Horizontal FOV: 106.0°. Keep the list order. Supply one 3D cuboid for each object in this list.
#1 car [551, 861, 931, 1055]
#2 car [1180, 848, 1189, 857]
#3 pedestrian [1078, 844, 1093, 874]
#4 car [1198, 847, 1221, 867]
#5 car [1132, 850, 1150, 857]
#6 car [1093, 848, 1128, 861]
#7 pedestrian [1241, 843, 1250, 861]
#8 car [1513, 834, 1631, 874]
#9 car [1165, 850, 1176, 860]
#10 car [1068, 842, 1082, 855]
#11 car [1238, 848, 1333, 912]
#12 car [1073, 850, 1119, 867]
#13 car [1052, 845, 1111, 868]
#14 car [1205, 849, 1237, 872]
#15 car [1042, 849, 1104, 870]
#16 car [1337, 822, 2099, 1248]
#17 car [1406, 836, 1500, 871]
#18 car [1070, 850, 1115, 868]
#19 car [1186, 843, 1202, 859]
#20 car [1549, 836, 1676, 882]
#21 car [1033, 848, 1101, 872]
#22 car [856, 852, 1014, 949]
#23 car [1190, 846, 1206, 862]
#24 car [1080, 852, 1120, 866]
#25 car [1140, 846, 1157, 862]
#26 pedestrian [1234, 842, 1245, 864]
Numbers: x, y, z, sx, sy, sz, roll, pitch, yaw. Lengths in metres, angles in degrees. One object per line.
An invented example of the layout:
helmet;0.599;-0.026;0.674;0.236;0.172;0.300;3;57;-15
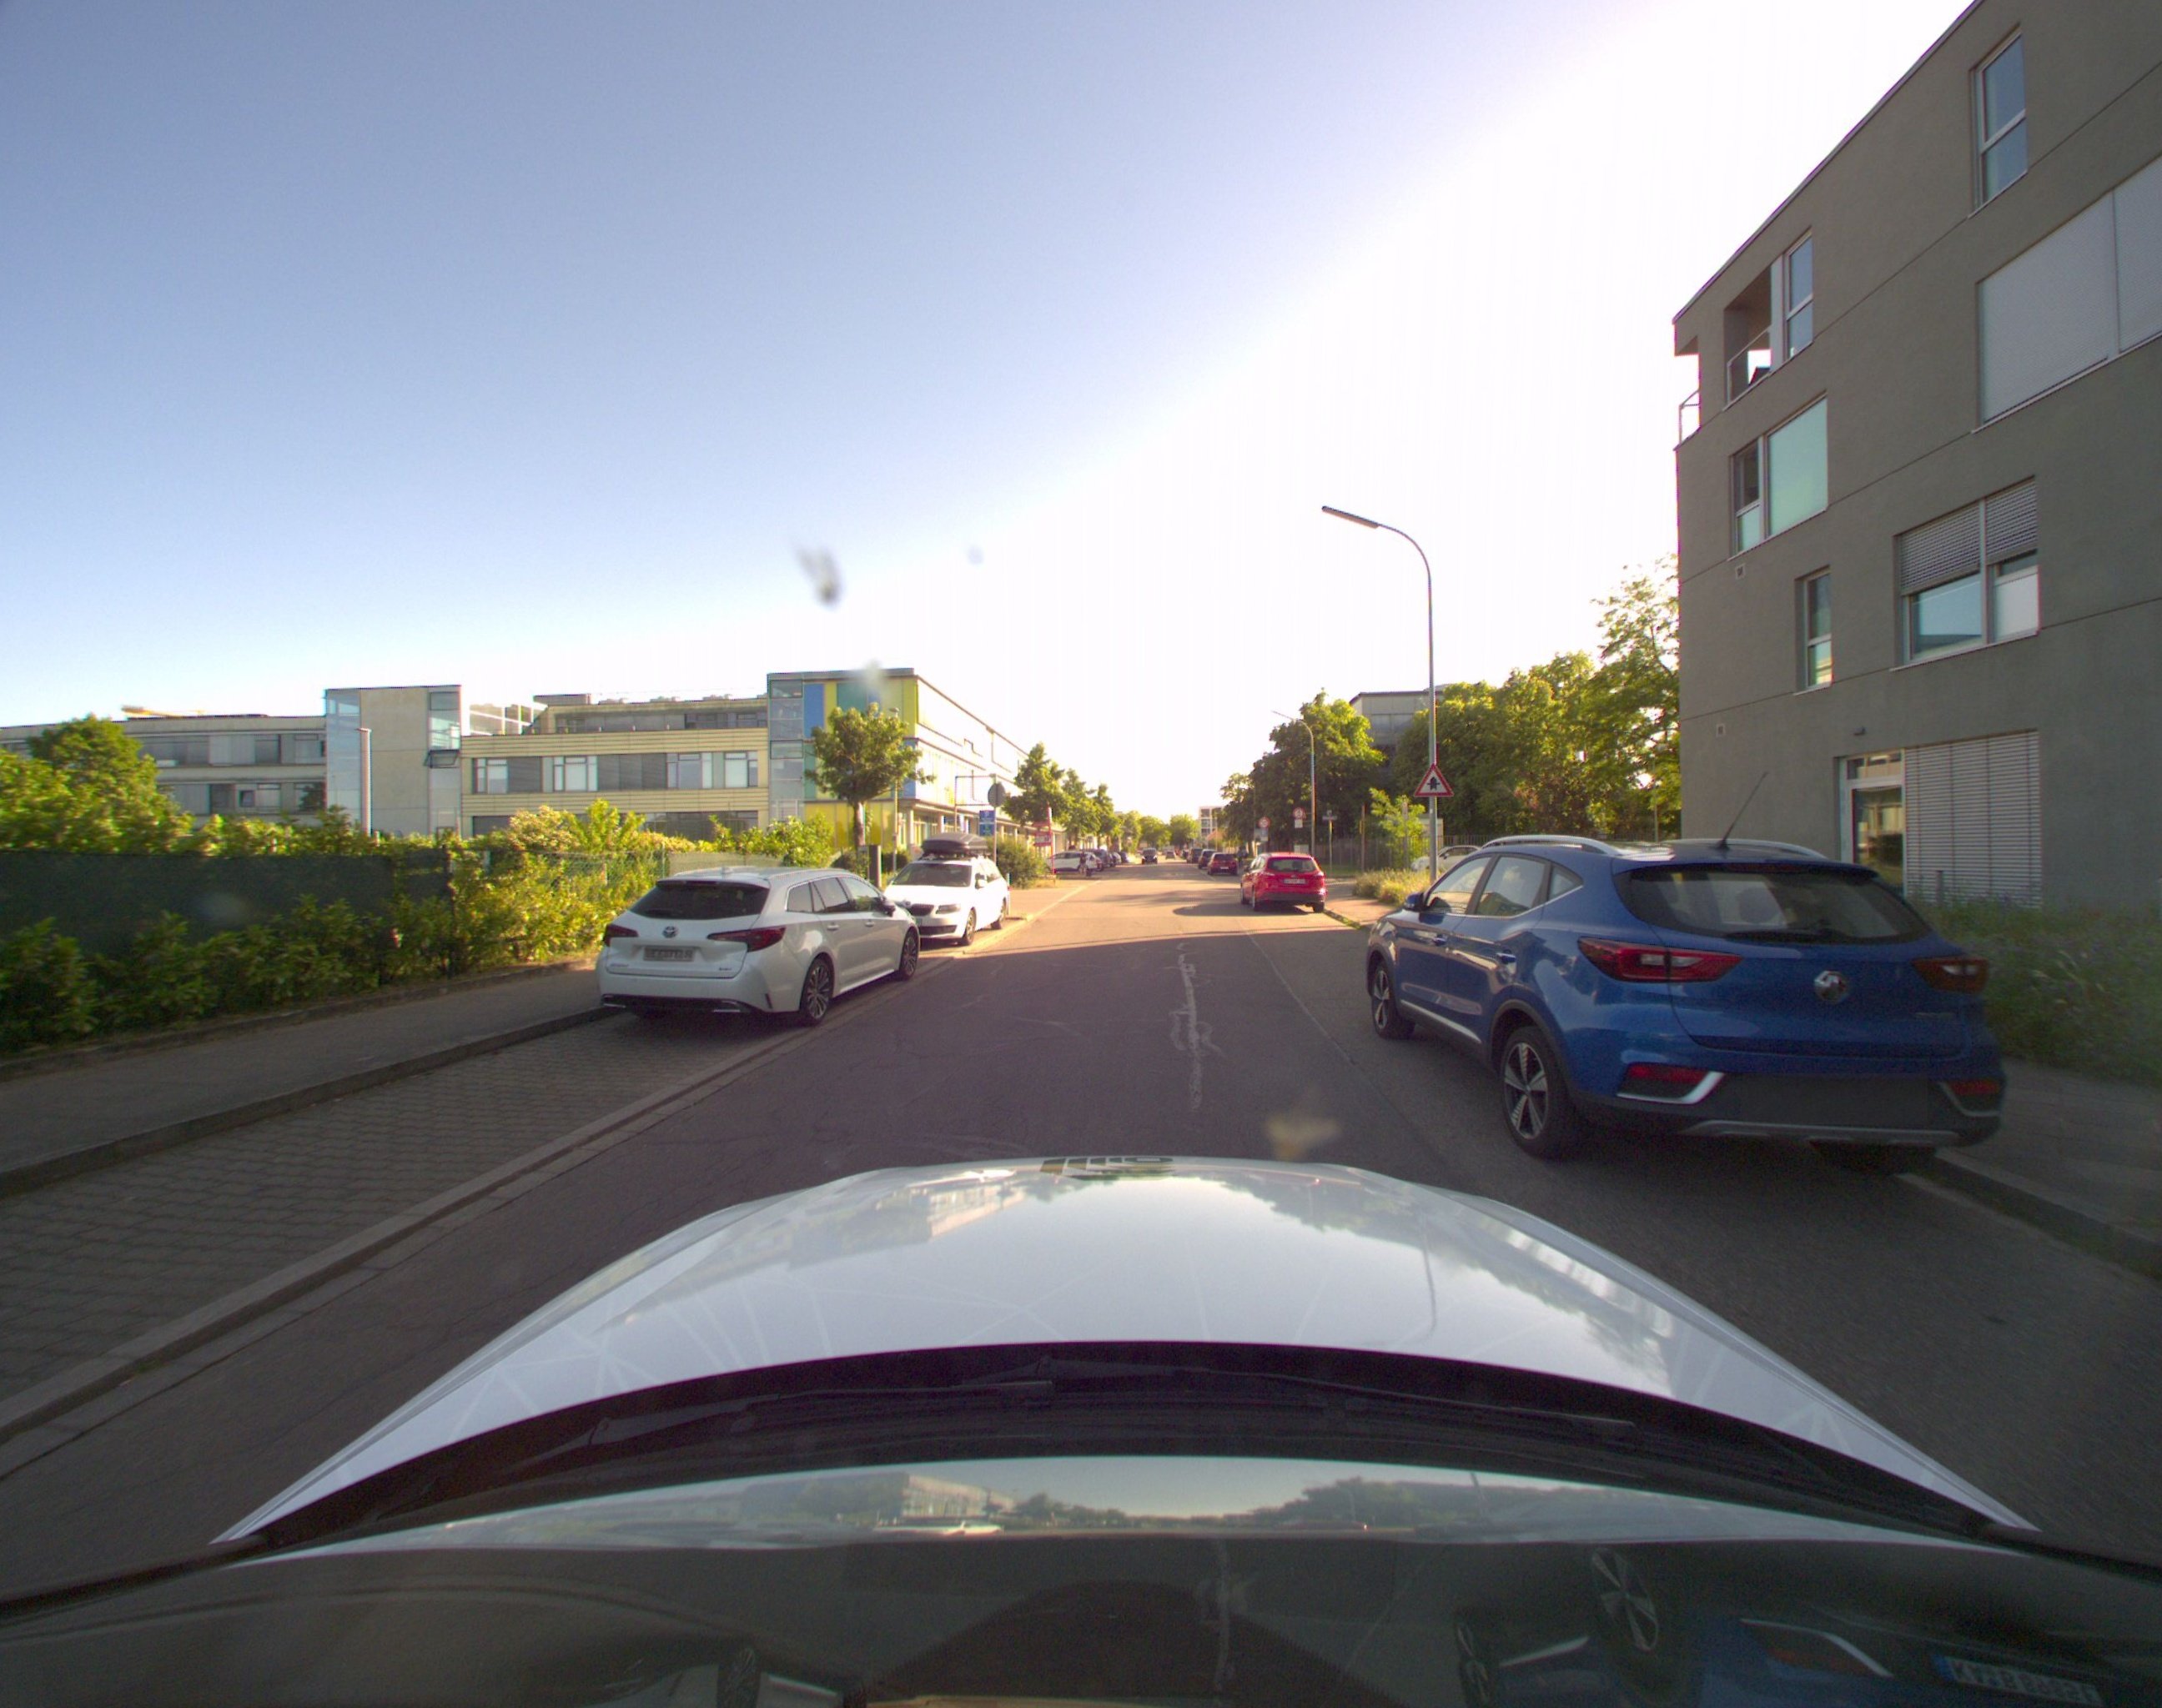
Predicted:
car;-3.139;0.834;8.730;1.738;1.446;4.549;0;0;6
car;19.792;-0.296;155.792;1.429;1.560;3.047;-1;0;6
pedestrian;0.298;0.328;51.380;0.853;1.842;0.827;1;0;7
car;10.994;0.241;70.013;1.802;1.666;4.602;0;1;7
car;13.459;-0.178;182.967;3.967;1.519;2.003;-1;-1;6
car;3.623;0.062;99.767;4.197;1.603;1.873;0;0;2
pedestrian;16.033;-0.191;79.326;0.695;1.661;0.753;-4;0;5
car;21.726;0.005;36.161;4.130;1.637;1.759;-1;0;6
car;15.209;0.158;138.174;1.735;1.543;4.007;-1;0;6
car;-1.066;-0.884;139.229;1.983;2.014;4.006;-1;-1;6
car;5.325;0.604;21.731;1.810;1.499;4.459;0;0;5
car;1.450;0.404;77.028;4.230;1.611;2.049;0;0;2
car;0.070;0.195;67.149;4.718;1.865;1.831;0;0;6
car;9.258;0.427;54.039;1.711;1.454;4.659;0;0;5
car;-0.591;0.402;61.531;4.411;1.501;1.831;1;0;6
car;3.188;0.680;5.492;1.808;1.599;4.634;1;0;5
car;16.788;-0.038;36.879;3.528;1.486;1.603;-1;0;6
car;1.066;0.456;74.092;3.971;1.607;1.873;0;0;2
car;14.824;-0.357;107.329;1.865;1.978;4.007;-2;0;6
car;18.470;0.172;28.449;3.305;1.458;1.720;-1;0;10
car;-1.011;0.405;58.858;4.584;1.651;1.872;-1;0;9
car;-2.519;0.727;15.209;1.687;1.513;4.524;1;0;6
car;13.600;0.007;94.881;1.724;1.830;3.912;-1;0;6
car;1.942;0.521;82.764;3.971;1.358;1.744;0;0;2
car;8.321;-0.016;100.010;1.945;1.867;5.263;-1;0;6
pedestrian;13.215;-0.085;68.008;0.714;1.758;0.886;-3;0;6
